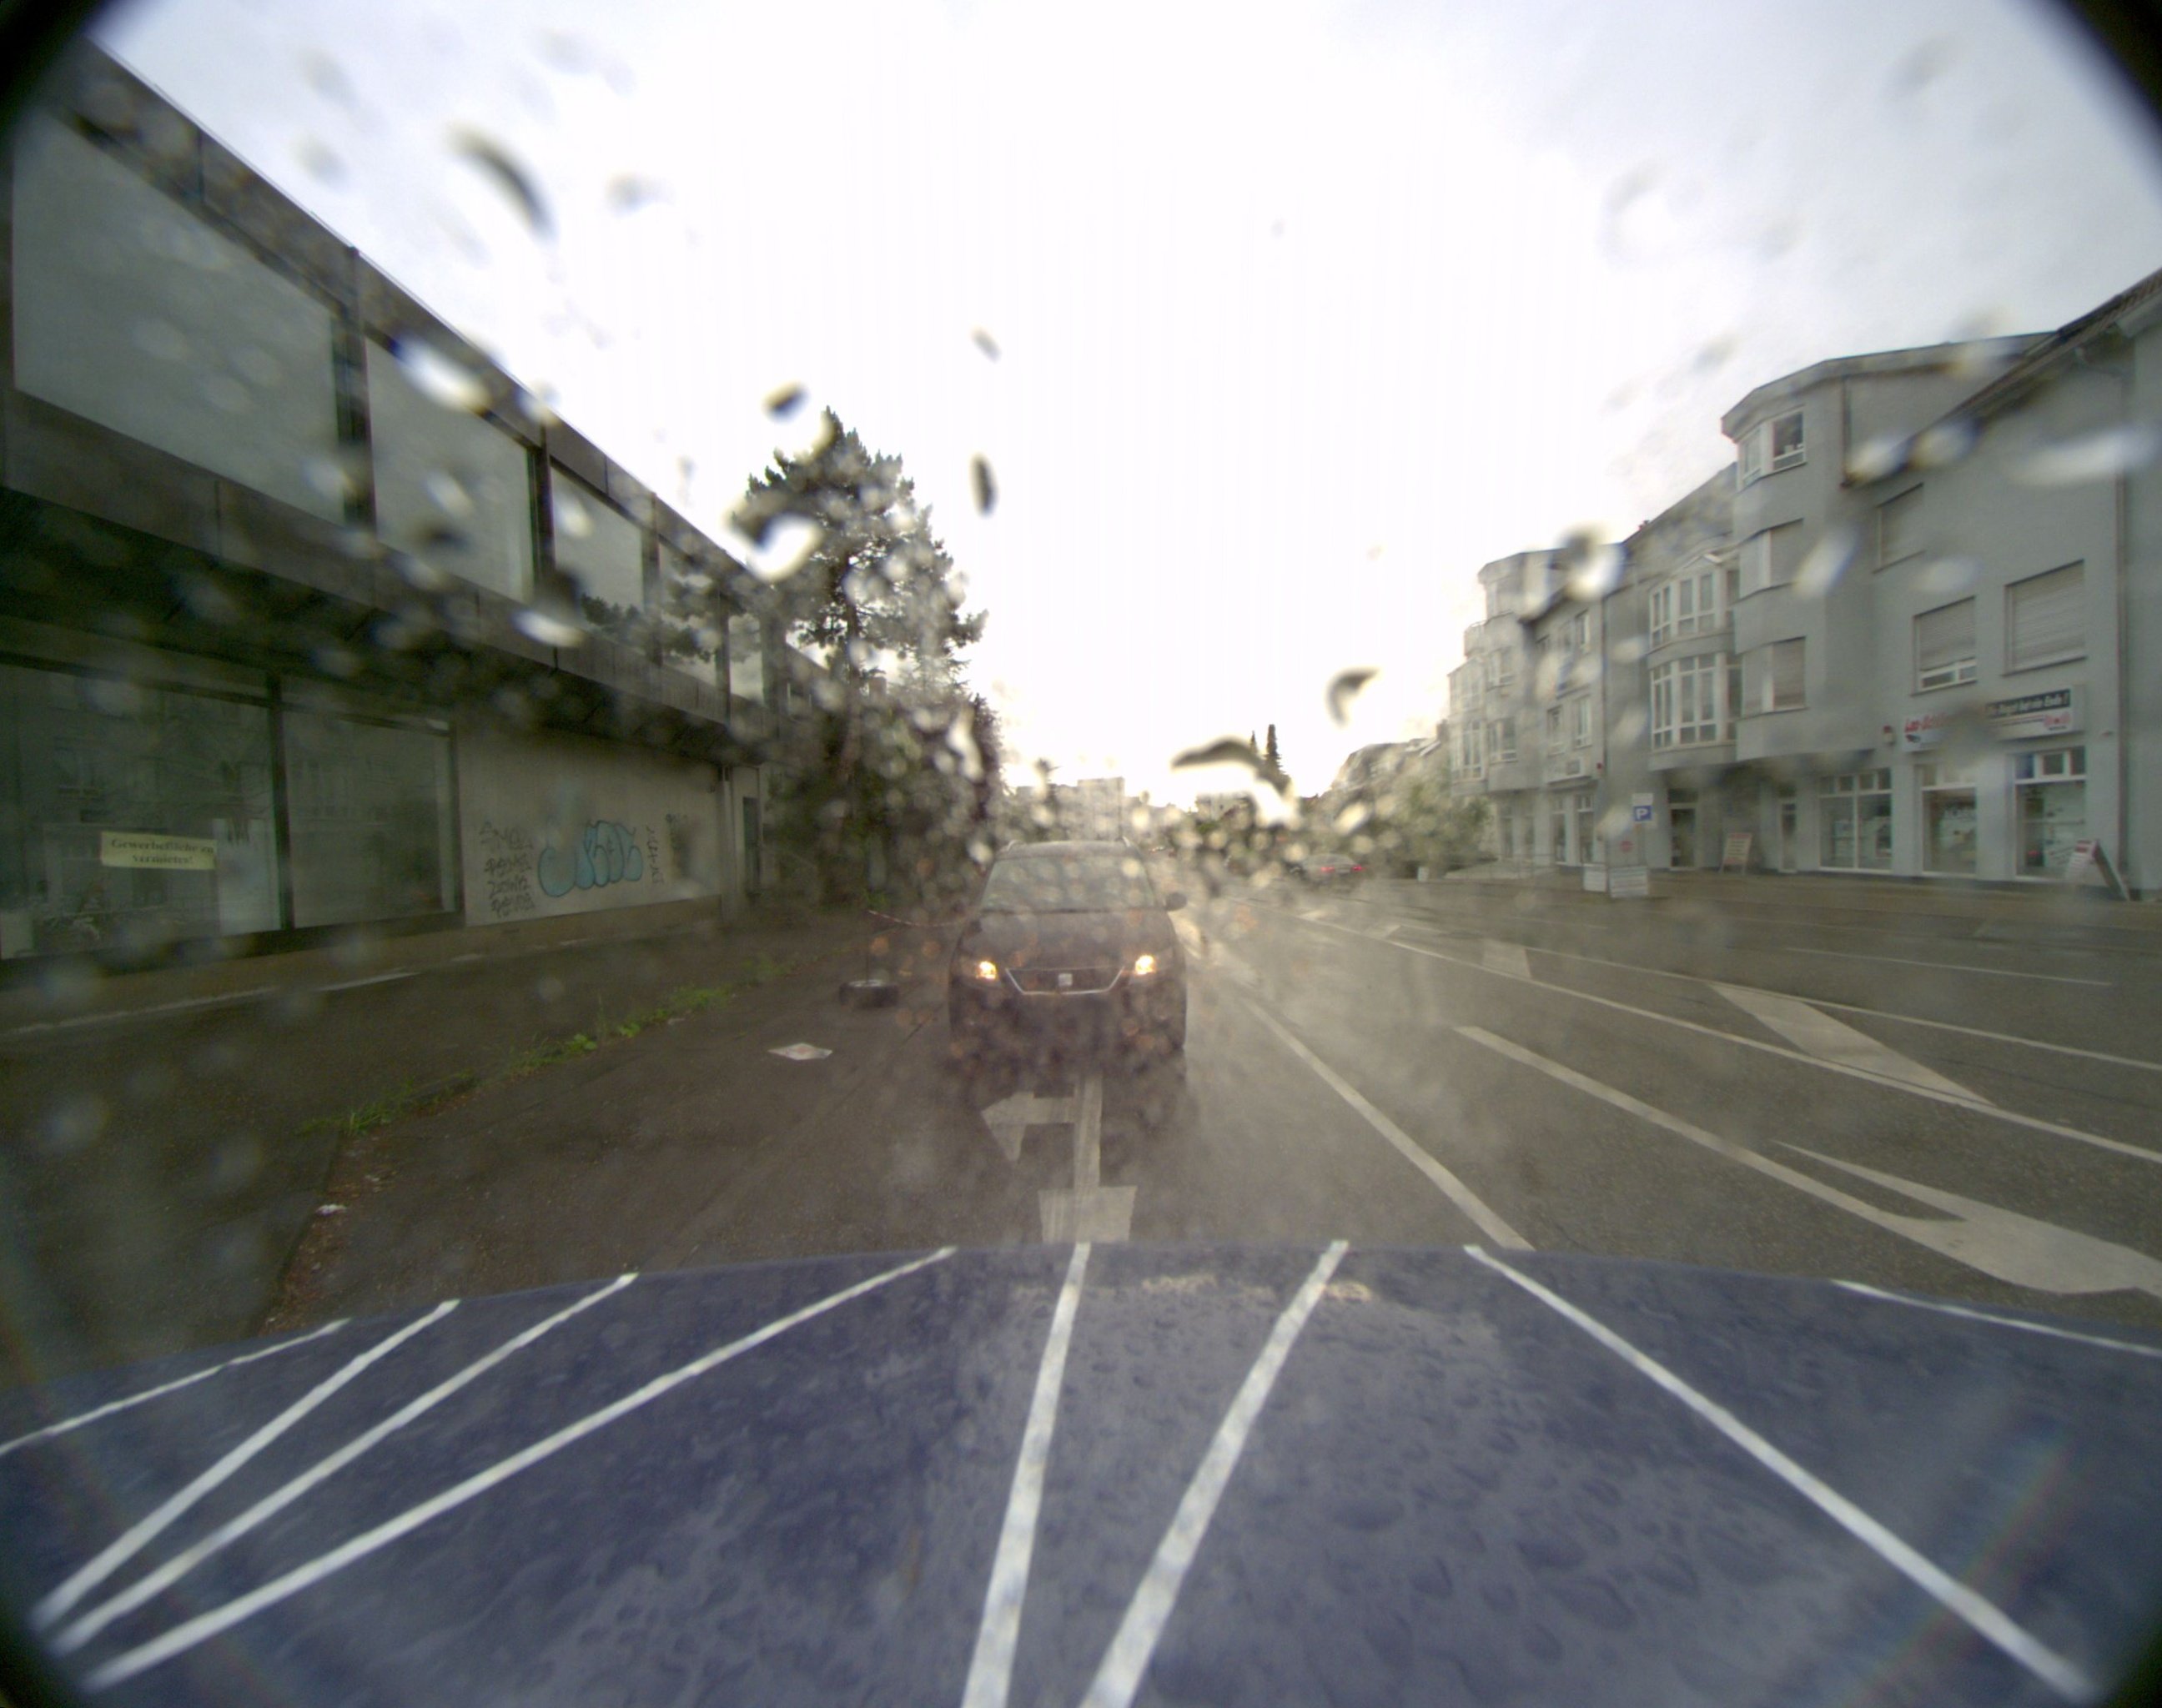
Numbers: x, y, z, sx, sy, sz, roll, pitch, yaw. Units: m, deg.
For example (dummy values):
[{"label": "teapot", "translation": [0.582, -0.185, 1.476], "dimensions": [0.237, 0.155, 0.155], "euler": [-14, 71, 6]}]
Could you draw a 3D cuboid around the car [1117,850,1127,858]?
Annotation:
[{"label": "car", "translation": [9.112, -0.012, 169.574], "dimensions": [1.998, 1.774, 3.999], "euler": [-2, 1, 1]}]

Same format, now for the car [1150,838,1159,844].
[{"label": "car", "translation": [23.438, -4.055, 242.030], "dimensions": [1.996, 1.808, 4.003], "euler": [-2, 1, 14]}]

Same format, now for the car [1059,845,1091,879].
[{"label": "car", "translation": [-0.358, 0.480, 50.414], "dimensions": [1.998, 2.072, 3.999], "euler": [-2, 1, 1]}]

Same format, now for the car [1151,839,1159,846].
[{"label": "car", "translation": [21.889, -3.286, 225.376], "dimensions": [1.997, 2.002, 4.002], "euler": [-2, 1, 8]}]

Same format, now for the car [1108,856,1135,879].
[{"label": "car", "translation": [3.079, 1.000, 58.228], "dimensions": [1.803, 1.675, 4.000], "euler": [-2, 0, 1]}]

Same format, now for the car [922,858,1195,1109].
[{"label": "car", "translation": [-0.115, 0.863, 7.310], "dimensions": [1.754, 1.534, 4.676], "euler": [-1, 1, 1]}]

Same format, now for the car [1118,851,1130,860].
[{"label": "car", "translation": [8.197, 0.258, 144.173], "dimensions": [1.998, 1.723, 3.999], "euler": [-2, 1, 1]}]

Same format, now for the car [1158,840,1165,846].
[{"label": "car", "translation": [24.830, -3.419, 234.971], "dimensions": [1.998, 1.808, 4.001], "euler": [-2, 1, 5]}]

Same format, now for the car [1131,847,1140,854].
[{"label": "car", "translation": [14.495, -0.967, 201.313], "dimensions": [1.997, 1.808, 4.002], "euler": [-2, 1, 8]}]

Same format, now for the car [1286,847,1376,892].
[{"label": "car", "translation": [9.910, 0.553, 30.537], "dimensions": [1.999, 1.615, 4.537], "euler": [-2, 1, -2]}]
